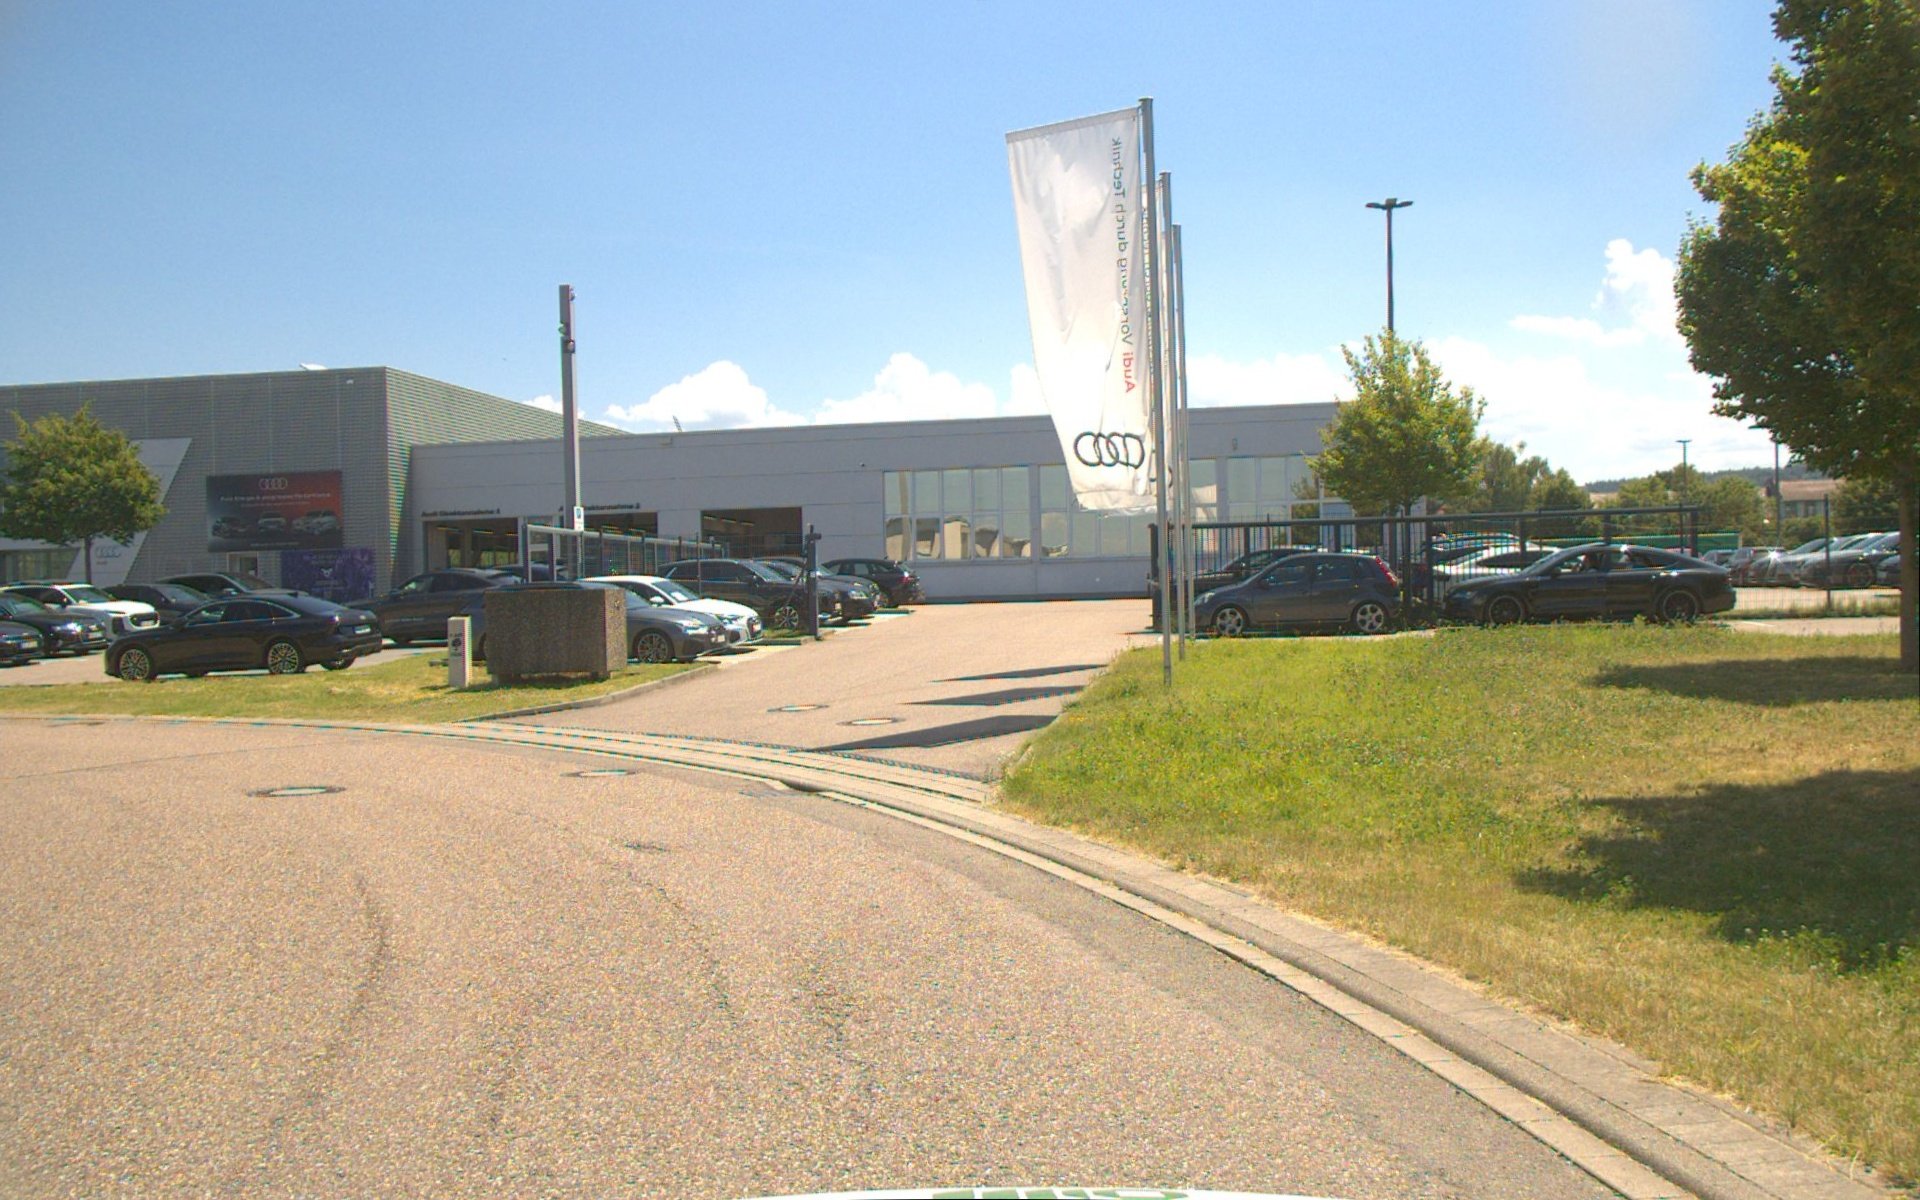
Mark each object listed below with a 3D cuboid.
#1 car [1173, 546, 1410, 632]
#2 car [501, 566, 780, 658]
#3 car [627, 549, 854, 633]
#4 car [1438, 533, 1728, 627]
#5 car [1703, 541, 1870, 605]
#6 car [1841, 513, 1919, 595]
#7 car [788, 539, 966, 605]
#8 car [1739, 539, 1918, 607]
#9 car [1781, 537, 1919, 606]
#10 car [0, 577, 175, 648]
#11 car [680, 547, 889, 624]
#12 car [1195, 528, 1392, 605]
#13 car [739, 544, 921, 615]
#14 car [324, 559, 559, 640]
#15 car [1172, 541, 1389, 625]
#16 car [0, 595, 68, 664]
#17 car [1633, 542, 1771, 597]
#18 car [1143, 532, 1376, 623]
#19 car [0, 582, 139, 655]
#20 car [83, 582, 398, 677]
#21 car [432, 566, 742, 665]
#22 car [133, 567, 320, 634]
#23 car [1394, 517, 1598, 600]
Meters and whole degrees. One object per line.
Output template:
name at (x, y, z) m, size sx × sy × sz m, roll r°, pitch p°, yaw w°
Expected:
car at (5.982, -0.209, 29.969) m, size 4.043 × 1.373 × 1.782 m, roll -2°, pitch 1°, yaw 12°
car at (-6.029, 0.207, 31.478) m, size 4.823 × 1.555 × 1.827 m, roll -2°, pitch 2°, yaw 9°
car at (-4.775, -0.217, 36.255) m, size 4.512 × 1.658 × 1.970 m, roll -2°, pitch 2°, yaw 9°
car at (10.725, -0.349, 28.760) m, size 4.461 × 1.426 × 1.782 m, roll -2°, pitch 1°, yaw 12°
car at (24.374, -0.799, 48.897) m, size 3.903 × 1.717 × 2.001 m, roll -2°, pitch 0°, yaw 5°
car at (22.099, -1.058, 36.358) m, size 4.369 × 1.717 × 2.001 m, roll -2°, pitch 0°, yaw 5°
car at (-2.232, -0.776, 45.218) m, size 4.512 × 1.658 × 1.970 m, roll -2°, pitch 2°, yaw 9°
car at (24.014, -0.736, 45.858) m, size 3.902 × 1.717 × 2.001 m, roll -2°, pitch 0°, yaw 6°
car at (22.928, -0.723, 41.207) m, size 3.902 × 1.583 × 2.114 m, roll -2°, pitch 0°, yaw 8°
car at (-22.420, 0.309, 41.847) m, size 4.183 × 1.641 × 1.970 m, roll -2°, pitch 2°, yaw 9°
car at (-4.116, -0.360, 39.098) m, size 4.512 × 1.658 × 1.970 m, roll -2°, pitch 2°, yaw 9°
car at (8.032, -0.793, 40.151) m, size 4.513 × 1.658 × 1.969 m, roll -2°, pitch 0°, yaw 9°
car at (-3.307, -0.542, 42.495) m, size 4.270 × 1.658 × 1.970 m, roll -2°, pitch 2°, yaw 9°
car at (-11.639, -0.012, 37.241) m, size 4.668 × 1.672 × 1.832 m, roll -2°, pitch 0°, yaw 9°
car at (6.955, -0.380, 36.224) m, size 4.512 × 1.658 × 1.970 m, roll -2°, pitch 2°, yaw 9°
car at (-22.327, 0.648, 36.578) m, size 4.205 × 1.398 × 1.970 m, roll -1°, pitch 2°, yaw 9°
car at (25.698, -1.047, 57.393) m, size 3.903 × 1.717 × 2.001 m, roll -2°, pitch 0°, yaw 5°
car at (6.056, -0.472, 33.715) m, size 4.512 × 1.658 × 1.970 m, roll -2°, pitch 2°, yaw 9°
car at (-22.431, 0.464, 39.366) m, size 4.883 × 1.580 × 1.970 m, roll -2°, pitch 2°, yaw 9°
car at (-12.888, 0.511, 29.754) m, size 4.900 × 1.480 × 1.887 m, roll -1°, pitch 2°, yaw 9°
car at (-6.414, 0.251, 28.717) m, size 4.823 × 1.493 × 1.970 m, roll -2°, pitch 2°, yaw 9°
car at (-21.473, 0.004, 48.474) m, size 4.613 × 1.769 × 1.970 m, roll -2°, pitch 2°, yaw 9°
car at (12.084, -0.917, 37.496) m, size 4.110 × 1.658 × 1.797 m, roll -2°, pitch 0°, yaw 9°
